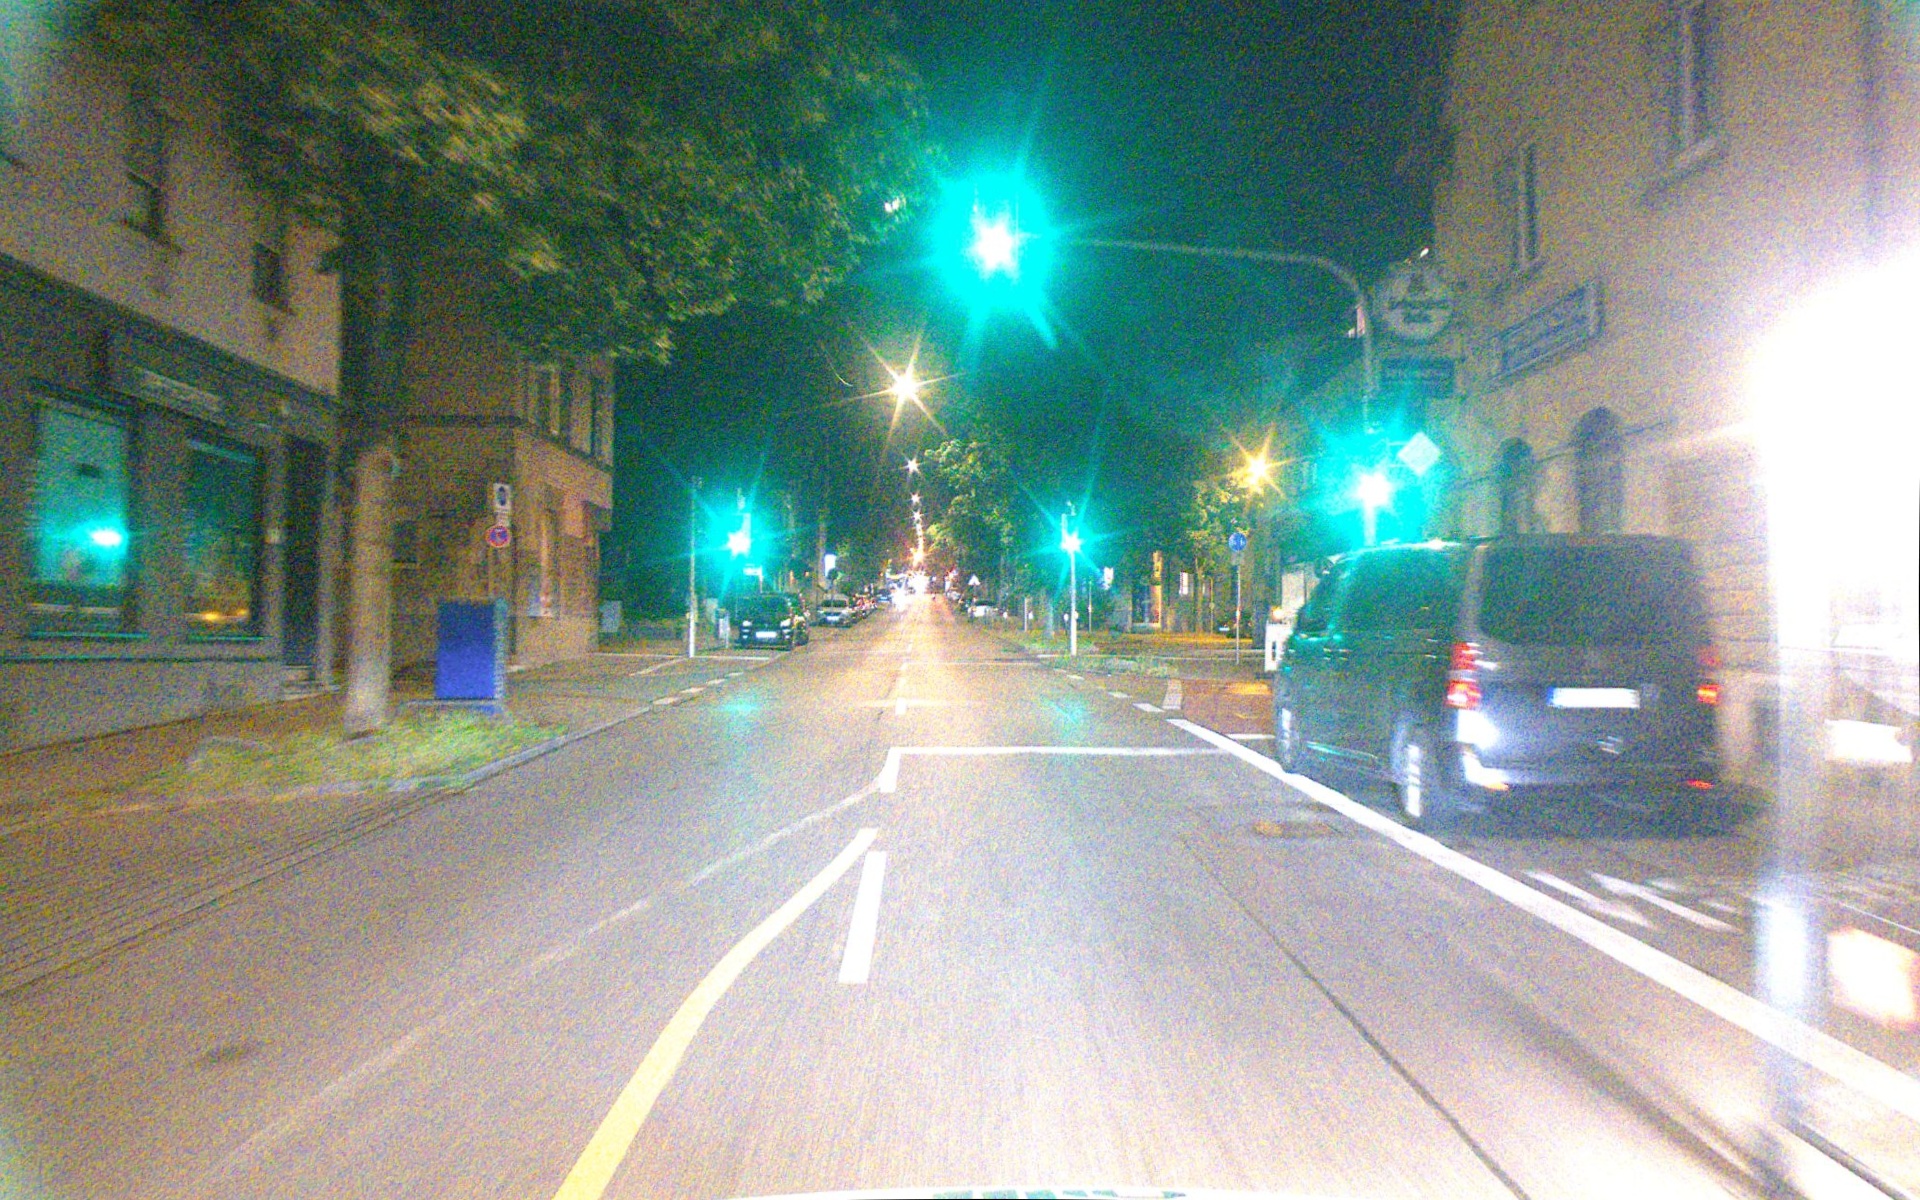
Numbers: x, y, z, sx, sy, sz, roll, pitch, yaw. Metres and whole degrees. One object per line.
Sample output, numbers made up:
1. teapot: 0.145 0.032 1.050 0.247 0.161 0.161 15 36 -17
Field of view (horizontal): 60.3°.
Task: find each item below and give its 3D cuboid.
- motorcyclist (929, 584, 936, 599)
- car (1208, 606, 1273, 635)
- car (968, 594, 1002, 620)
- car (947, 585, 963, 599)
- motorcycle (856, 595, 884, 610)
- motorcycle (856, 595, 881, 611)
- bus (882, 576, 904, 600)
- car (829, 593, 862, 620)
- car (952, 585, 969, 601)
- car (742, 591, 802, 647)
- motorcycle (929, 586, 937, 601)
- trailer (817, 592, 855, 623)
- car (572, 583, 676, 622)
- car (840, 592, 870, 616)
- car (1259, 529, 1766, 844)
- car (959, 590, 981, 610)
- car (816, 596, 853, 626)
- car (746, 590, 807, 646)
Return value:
1. motorcyclist: -3.274 -0.964 197.149 0.831 1.782 0.805 1 -1 -1
2. car: 14.446 1.067 85.039 1.766 1.442 3.823 1 0 36
3. car: 1.474 0.419 99.845 1.808 1.442 4.643 -3 0 -2
4. car: -0.617 -0.947 200.469 1.831 1.553 4.149 -1 1 -1
5. motorcycle: -7.060 0.171 129.144 2.162 1.150 0.714 0 1 32
6. motorcycle: -7.070 0.227 127.125 0.710 1.167 2.174 -1 1 -43
7. bus: -9.196 -1.691 228.246 2.780 3.233 10.496 1 1 -1
8. car: -6.659 0.379 96.841 1.798 1.472 4.543 0 1 -2
9. car: 0.078 -0.810 187.119 1.775 1.622 4.273 -1 1 -1
10. car: -5.506 0.546 48.709 1.615 1.541 3.698 1 0 -5
11. motorcycle: -3.276 -0.757 197.146 0.912 1.782 2.624 1 0 -1
12. trailer: -6.784 0.421 90.878 1.603 1.668 3.440 1 0 3
13. car: -14.225 0.099 70.117 3.902 1.450 1.763 3 0 8
14. car: -6.989 0.276 110.583 1.826 1.518 4.278 1 0 -2
15. car: 3.736 0.503 12.273 1.873 1.859 4.897 0 0 -4
16. car: 0.851 -0.022 138.328 1.727 1.502 4.080 -1 1 -1
17. car: -6.541 0.564 86.227 1.778 1.510 4.345 1 0 -3
18. car: -5.999 0.545 54.365 1.812 1.679 4.667 1 1 -5
